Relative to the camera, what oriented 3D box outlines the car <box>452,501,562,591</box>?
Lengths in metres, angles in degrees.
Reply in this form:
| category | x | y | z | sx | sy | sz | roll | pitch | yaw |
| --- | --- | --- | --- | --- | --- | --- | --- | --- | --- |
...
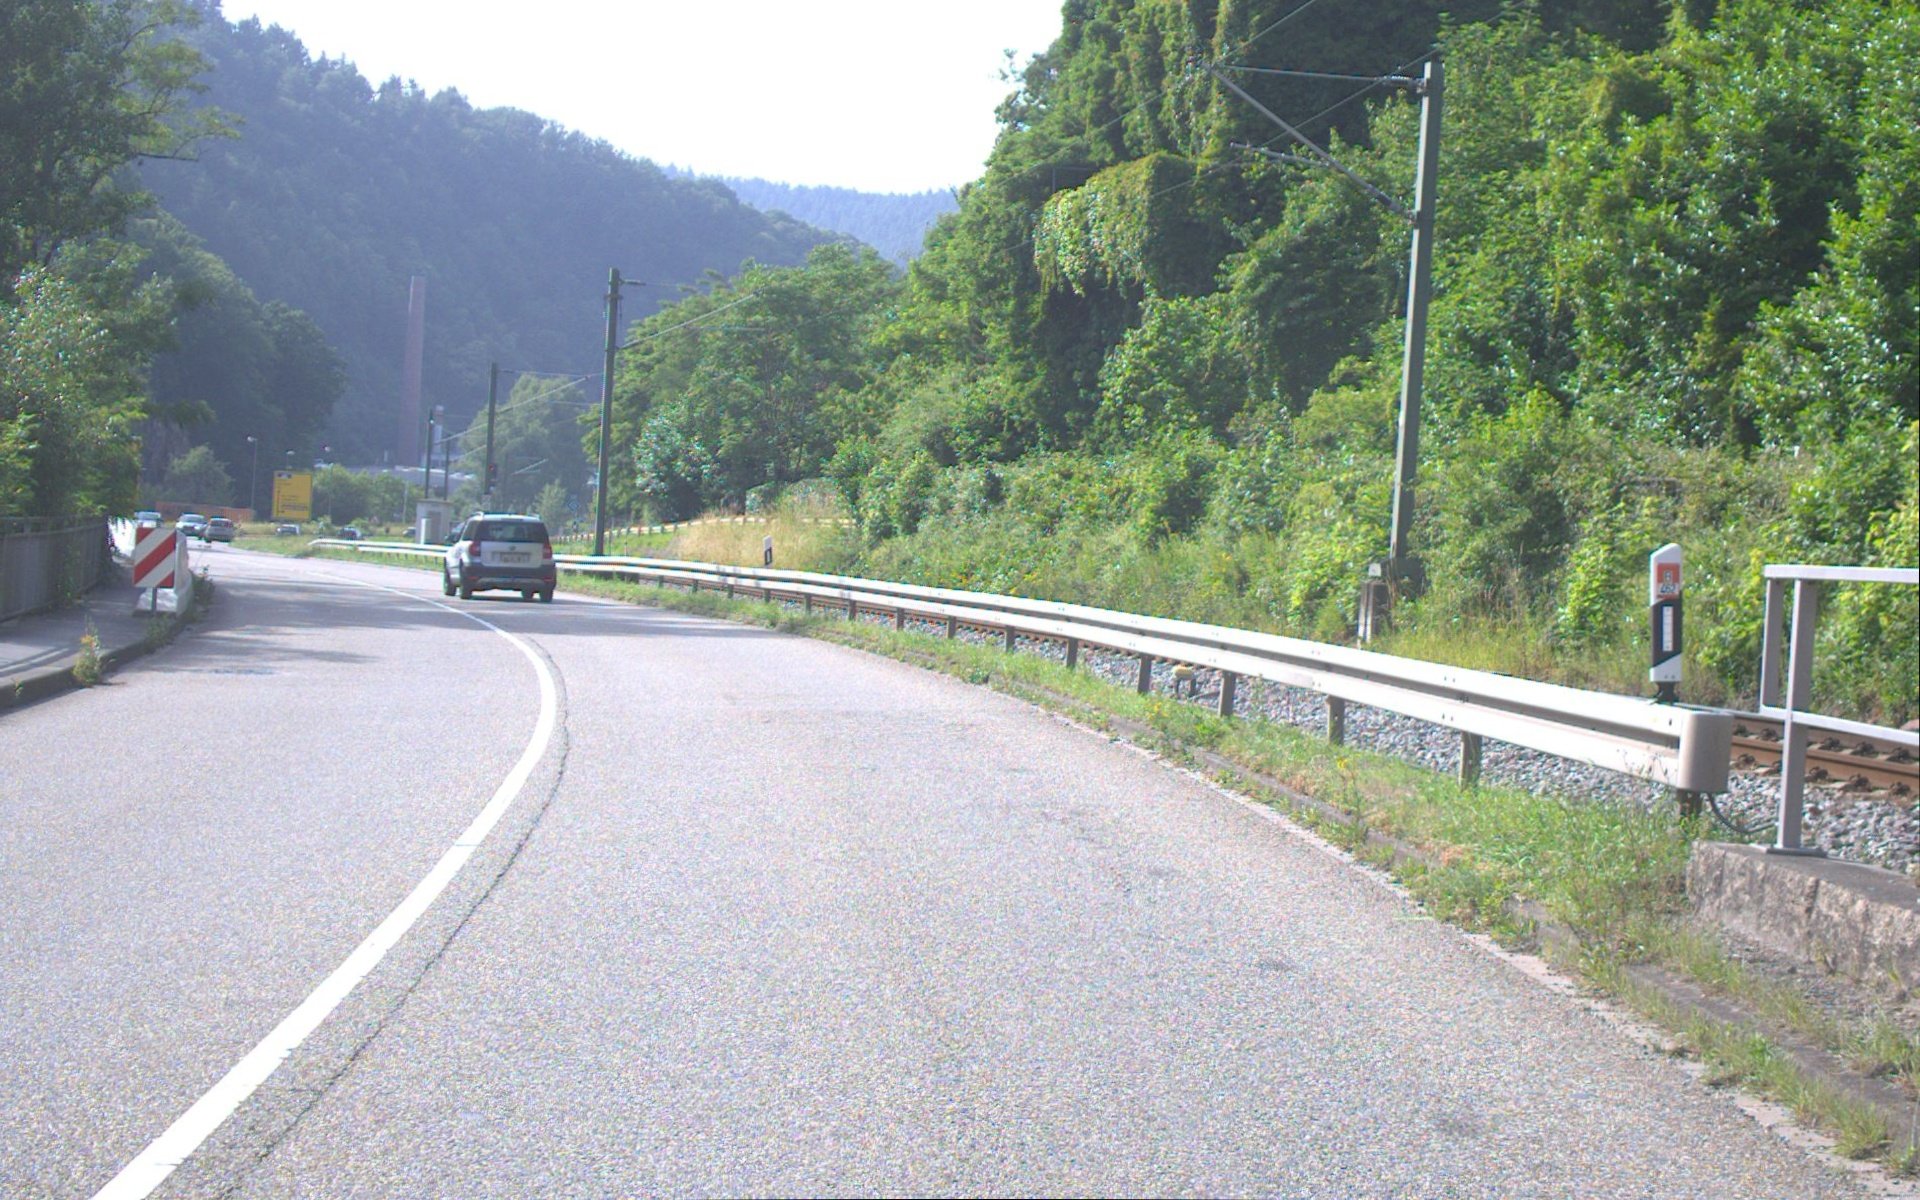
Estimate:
| category | x | y | z | sx | sy | sz | roll | pitch | yaw |
| --- | --- | --- | --- | --- | --- | --- | --- | --- | --- |
| car | -8.792 | -1.059 | 66.476 | 1.872 | 1.650 | 4.001 | 1 | 1 | -11 |
